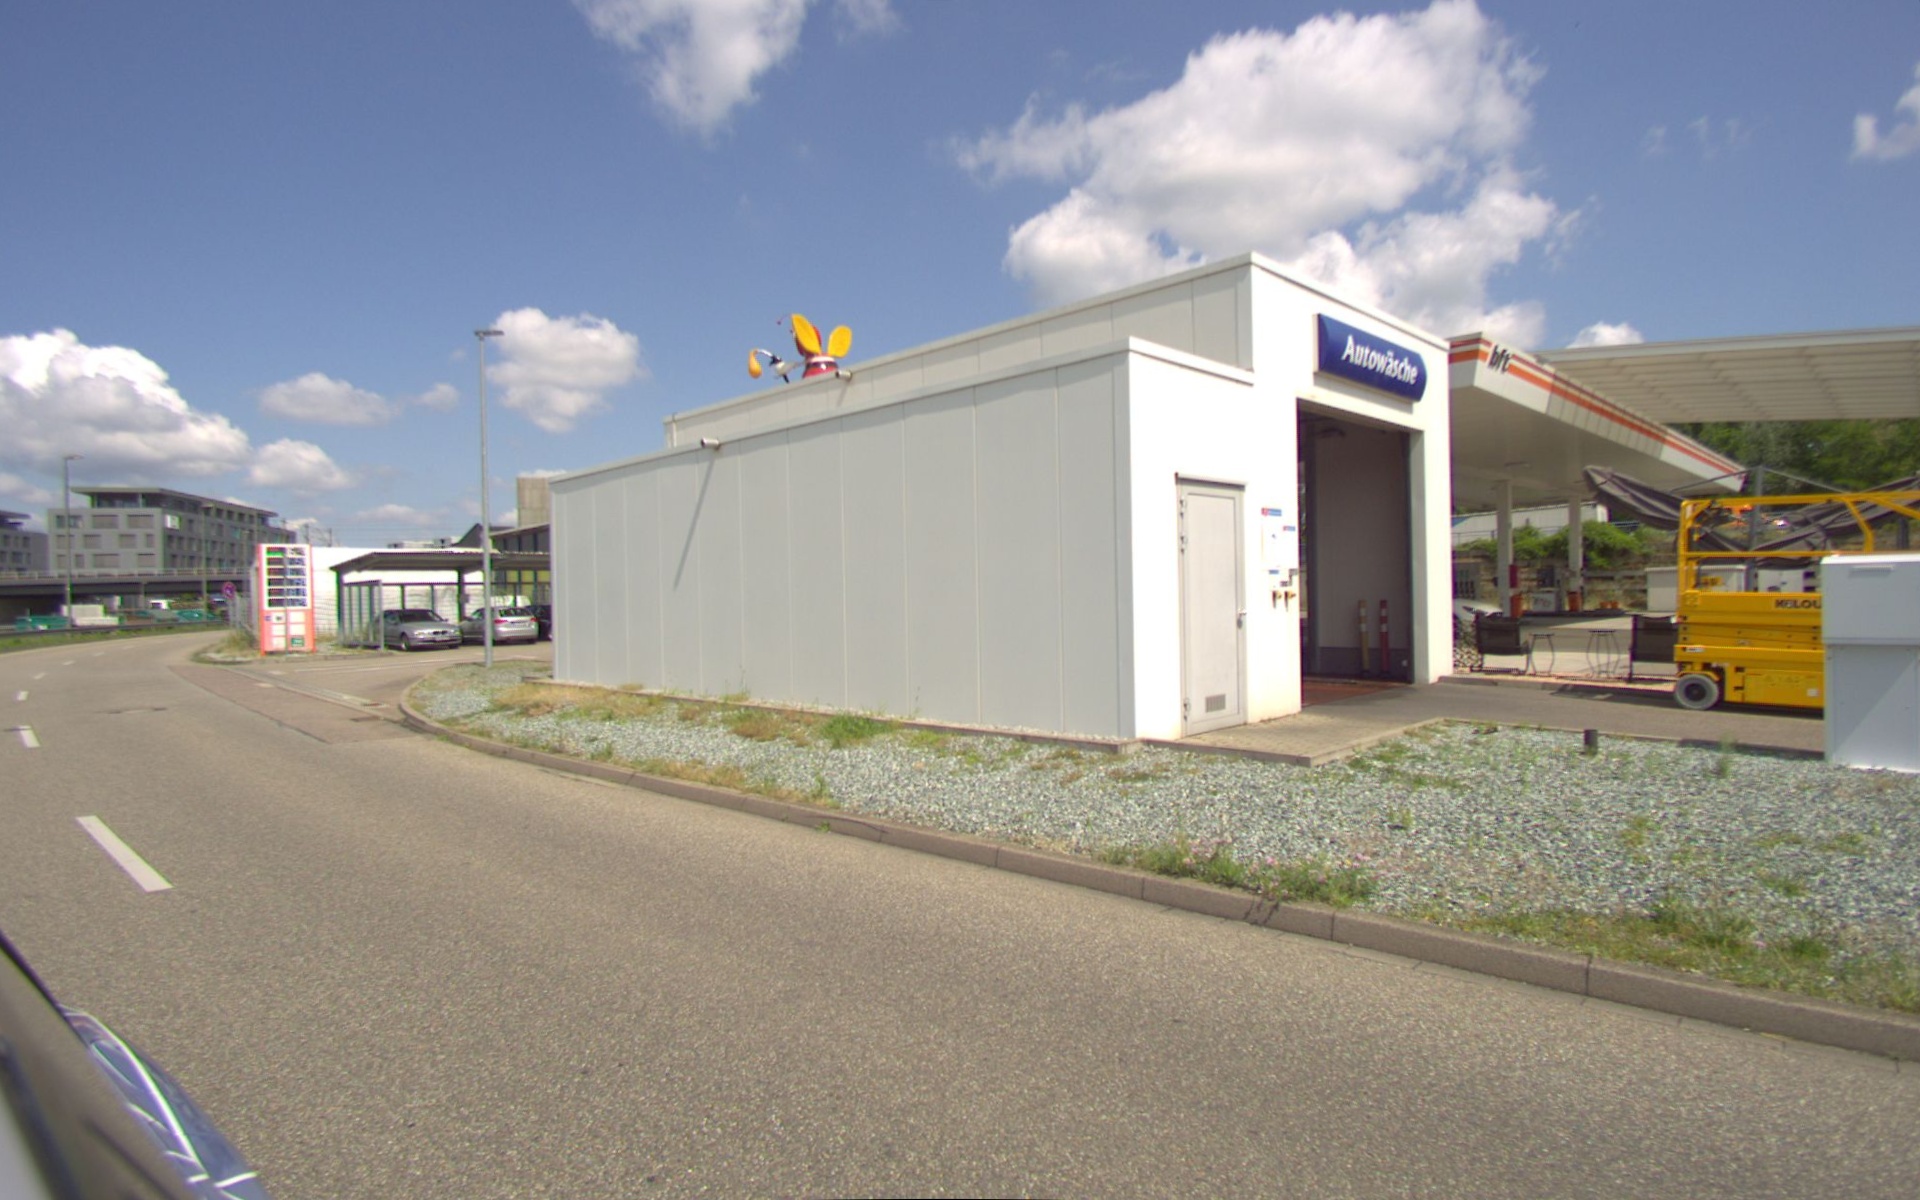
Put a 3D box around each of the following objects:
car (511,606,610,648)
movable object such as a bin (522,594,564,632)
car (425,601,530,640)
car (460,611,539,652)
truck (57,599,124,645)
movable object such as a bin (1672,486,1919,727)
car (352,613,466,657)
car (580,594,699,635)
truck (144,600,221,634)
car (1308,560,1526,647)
[{"bbox_3d":[-15.637,1.031,39.492,4.252,1.509,1.972,-1,0,43],"label":"car"},{"bbox_3d":[-24.110,0.739,58.627,1.611,2.121,2.380,-3,0,-8],"label":"movable object such as a bin"},{"bbox_3d":[-24.006,0.996,50.501,4.346,1.846,2.003,-1,0,-7],"label":"car"},{"bbox_3d":[-16.789,1.109,36.839,3.056,1.355,1.576,-1,1,43],"label":"car"},{"bbox_3d":[-69.348,1.727,80.633,8.111,3.445,2.954,-1,0,42],"label":"truck"},{"bbox_3d":[8.639,0.044,9.806,2.705,2.168,1.051,1,1,44],"label":"movable object such as a bin"},{"bbox_3d":[-19.410,1.186,35.570,4.788,1.388,1.898,-1,1,41],"label":"car"},{"bbox_3d":[-16.694,0.731,52.924,5.617,2.029,2.001,-1,0,-45],"label":"car"},{"bbox_3d":[-73.402,1.571,95.665,5.421,3.121,2.006,-1,0,-15],"label":"truck"},{"bbox_3d":[11.592,0.096,25.910,1.970,2.029,4.673,0,0,-43],"label":"car"}]
